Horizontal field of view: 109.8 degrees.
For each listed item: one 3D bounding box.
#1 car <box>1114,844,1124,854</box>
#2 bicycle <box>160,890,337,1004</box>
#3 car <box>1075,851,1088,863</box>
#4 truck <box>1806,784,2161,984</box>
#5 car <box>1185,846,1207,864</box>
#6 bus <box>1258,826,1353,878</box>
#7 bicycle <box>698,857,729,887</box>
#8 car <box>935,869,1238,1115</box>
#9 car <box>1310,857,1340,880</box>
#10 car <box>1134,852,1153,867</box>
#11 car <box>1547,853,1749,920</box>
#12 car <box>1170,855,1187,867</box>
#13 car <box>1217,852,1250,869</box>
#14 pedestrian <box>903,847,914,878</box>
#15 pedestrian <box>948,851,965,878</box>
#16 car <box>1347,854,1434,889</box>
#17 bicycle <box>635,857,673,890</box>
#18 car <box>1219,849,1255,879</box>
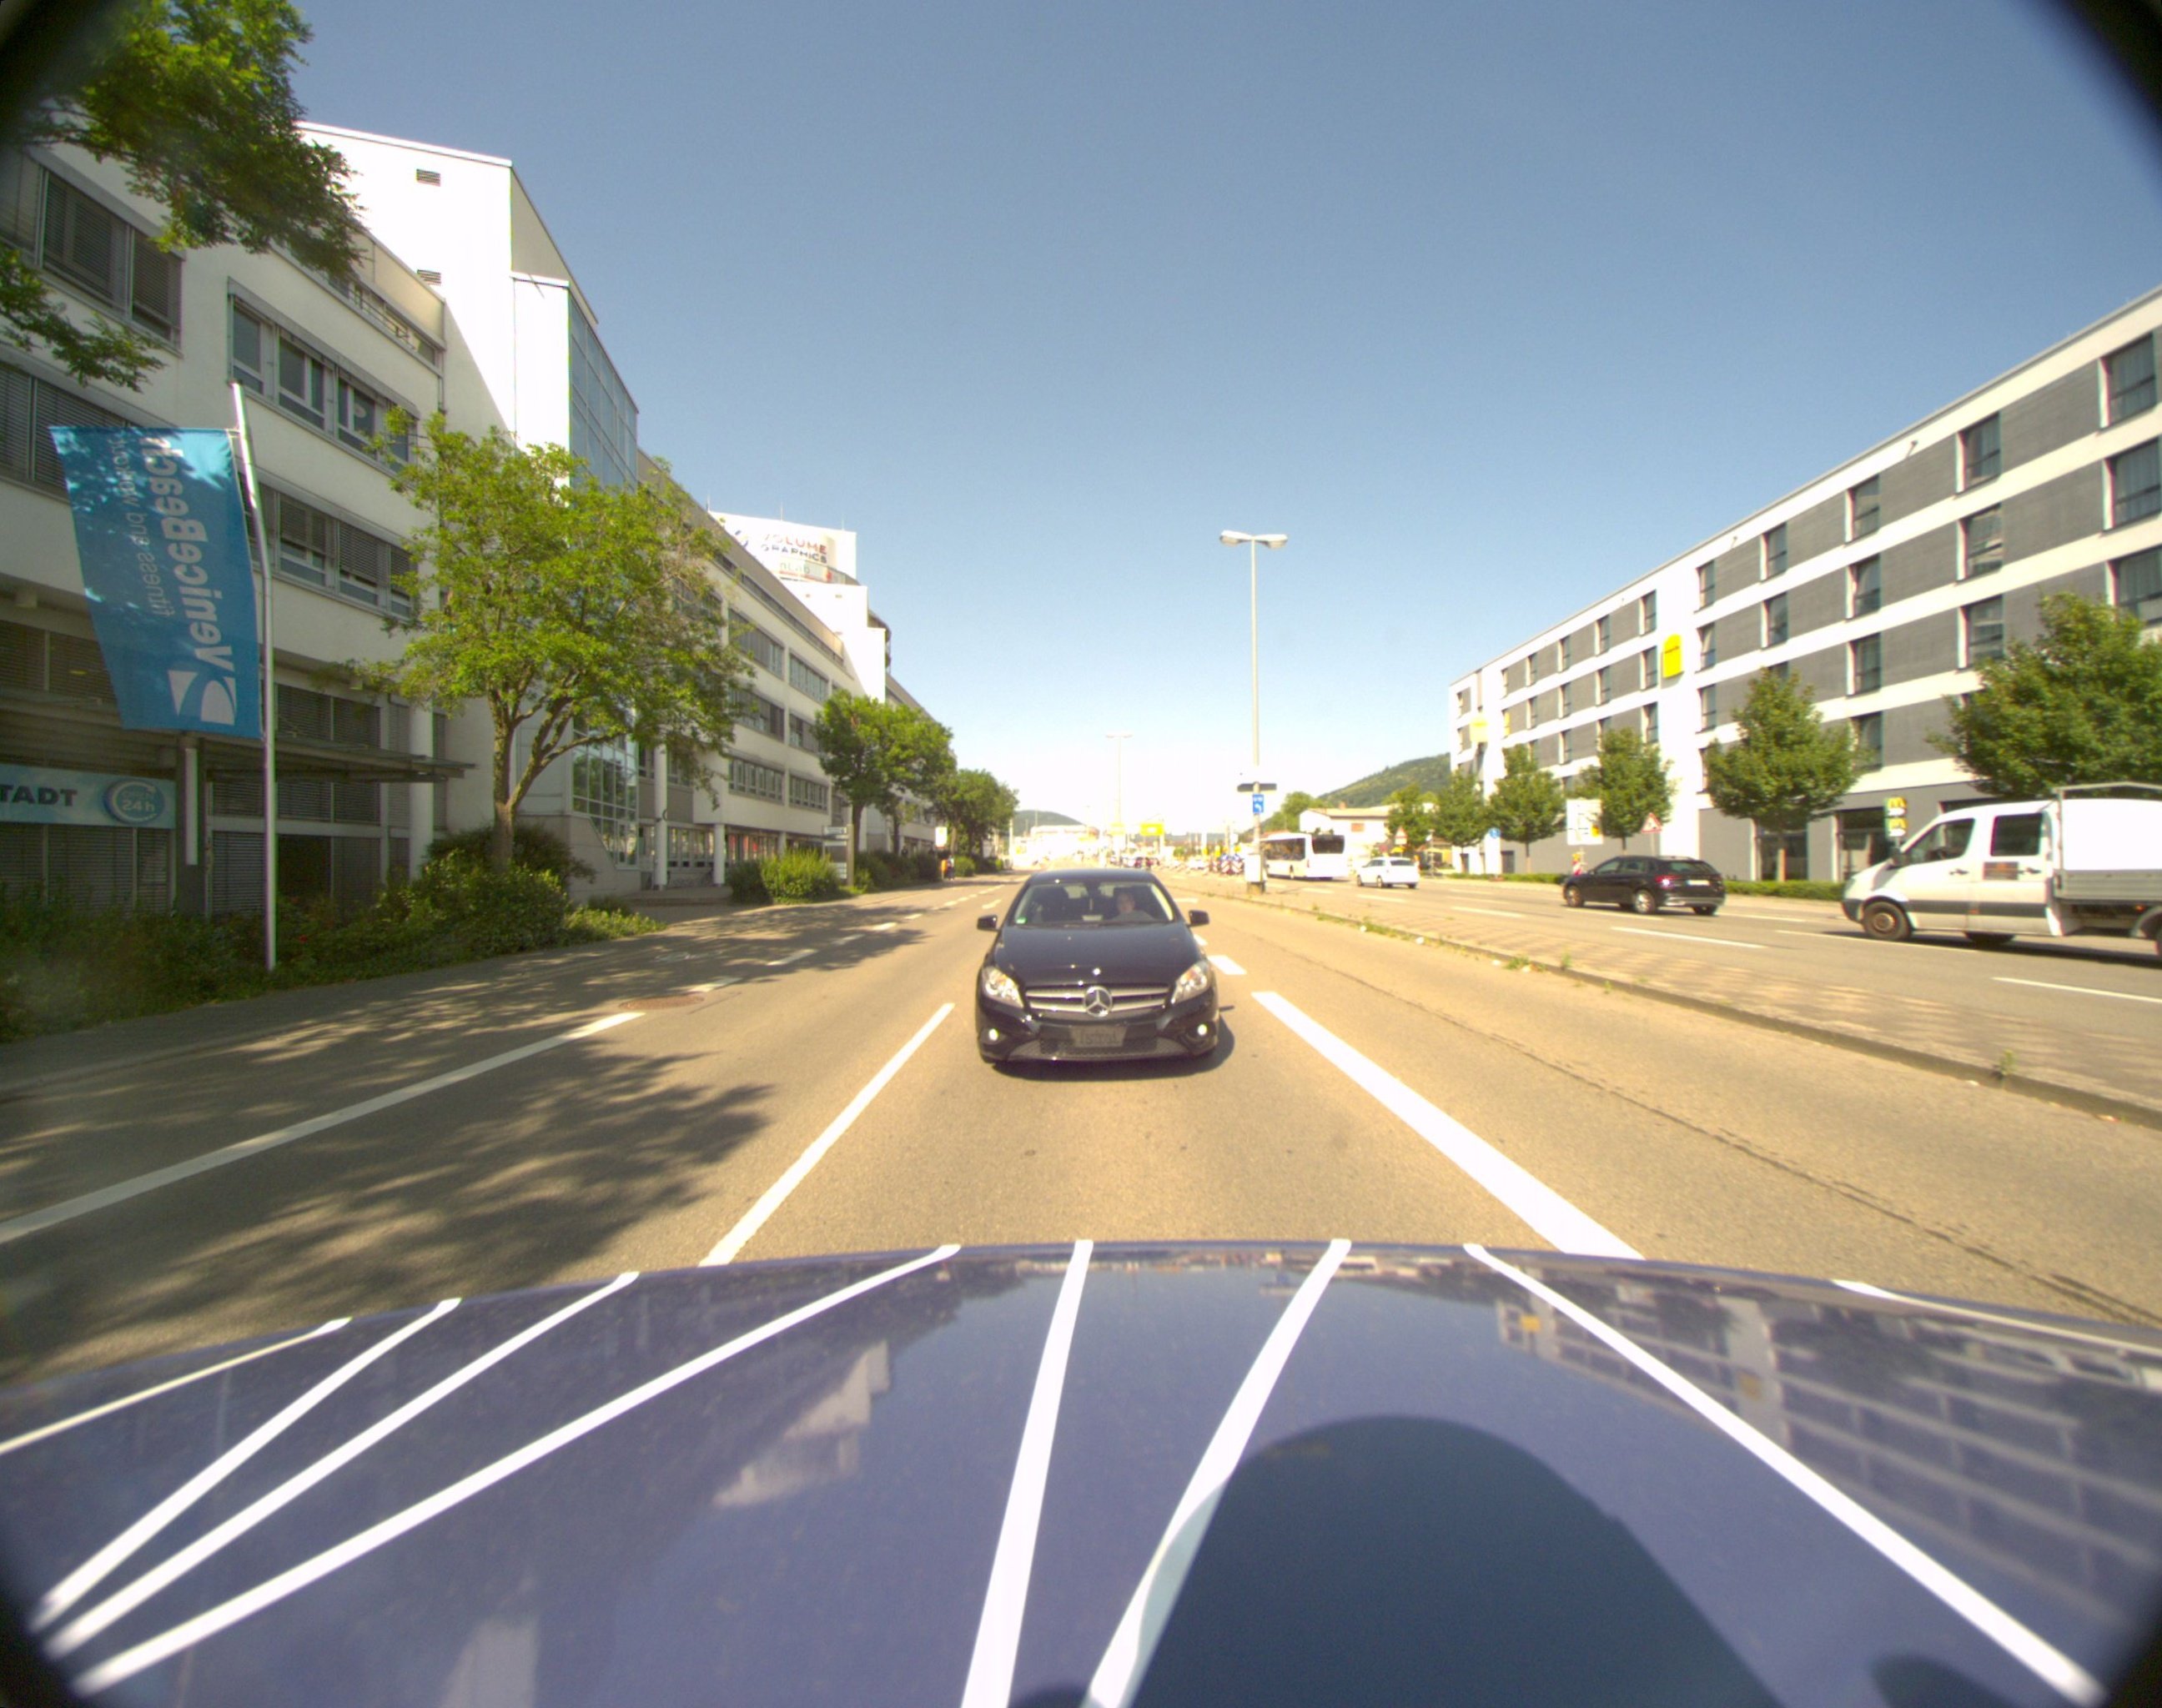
[{"bbox_3d":[8.115,-1.083,162.362,1.998,2.002,3.999,-2,1,1],"label":"car"},{"bbox_3d":[-11.203,1.199,10.330,0.506,1.321,1.883,0,0,-7],"label":"bicycle"},{"bbox_3d":[0.118,0.555,133.684,1.998,2.002,4.000,-2,1,2],"label":"car"},{"bbox_3d":[14.897,0.392,11.127,2.363,2.531,6.436,2,1,1],"label":"truck"},{"bbox_3d":[14.215,0.143,94.057,1.999,2.000,4.002,2,-4,-2],"label":"car"},{"bbox_3d":[14.678,-0.153,50.893,2.745,3.061,11.974,1,0,0],"label":"bus"},{"bbox_3d":[-17.520,0.840,36.272,0.506,1.346,1.884,-1,0,1],"label":"bicycle"},{"bbox_3d":[0.073,0.928,7.172,1.905,1.431,4.693,-1,0,1],"label":"car"},{"bbox_3d":[13.912,0.805,43.440,1.058,1.200,2.220,-2,1,2],"label":"car"},{"bbox_3d":[6.688,0.557,81.619,1.889,1.608,4.135,-1,0,3],"label":"car"},{"bbox_3d":[15.054,0.780,20.557,1.999,1.569,4.411,0,1,-3],"label":"car"},{"bbox_3d":[14.237,0.977,110.607,1.719,1.609,3.590,-1,0,-5],"label":"car"},{"bbox_3d":[13.615,0.546,68.247,1.998,1.424,4.891,-1,0,0],"label":"car"},{"bbox_3d":[-14.406,0.685,63.457,0.717,2.534,0.716,-1,1,-1],"label":"pedestrian"},{"bbox_3d":[-8.924,0.757,54.407,0.942,1.875,1.289,2,1,1],"label":"pedestrian"},{"bbox_3d":[14.664,0.791,36.267,1.999,1.477,4.410,2,1,-5],"label":"car"},{"bbox_3d":[-17.883,0.790,31.876,0.506,1.346,1.884,-1,0,1],"label":"bicycle"},{"bbox_3d":[11.059,0.671,54.109,1.679,2.002,4.164,-2,1,1],"label":"car"}]
